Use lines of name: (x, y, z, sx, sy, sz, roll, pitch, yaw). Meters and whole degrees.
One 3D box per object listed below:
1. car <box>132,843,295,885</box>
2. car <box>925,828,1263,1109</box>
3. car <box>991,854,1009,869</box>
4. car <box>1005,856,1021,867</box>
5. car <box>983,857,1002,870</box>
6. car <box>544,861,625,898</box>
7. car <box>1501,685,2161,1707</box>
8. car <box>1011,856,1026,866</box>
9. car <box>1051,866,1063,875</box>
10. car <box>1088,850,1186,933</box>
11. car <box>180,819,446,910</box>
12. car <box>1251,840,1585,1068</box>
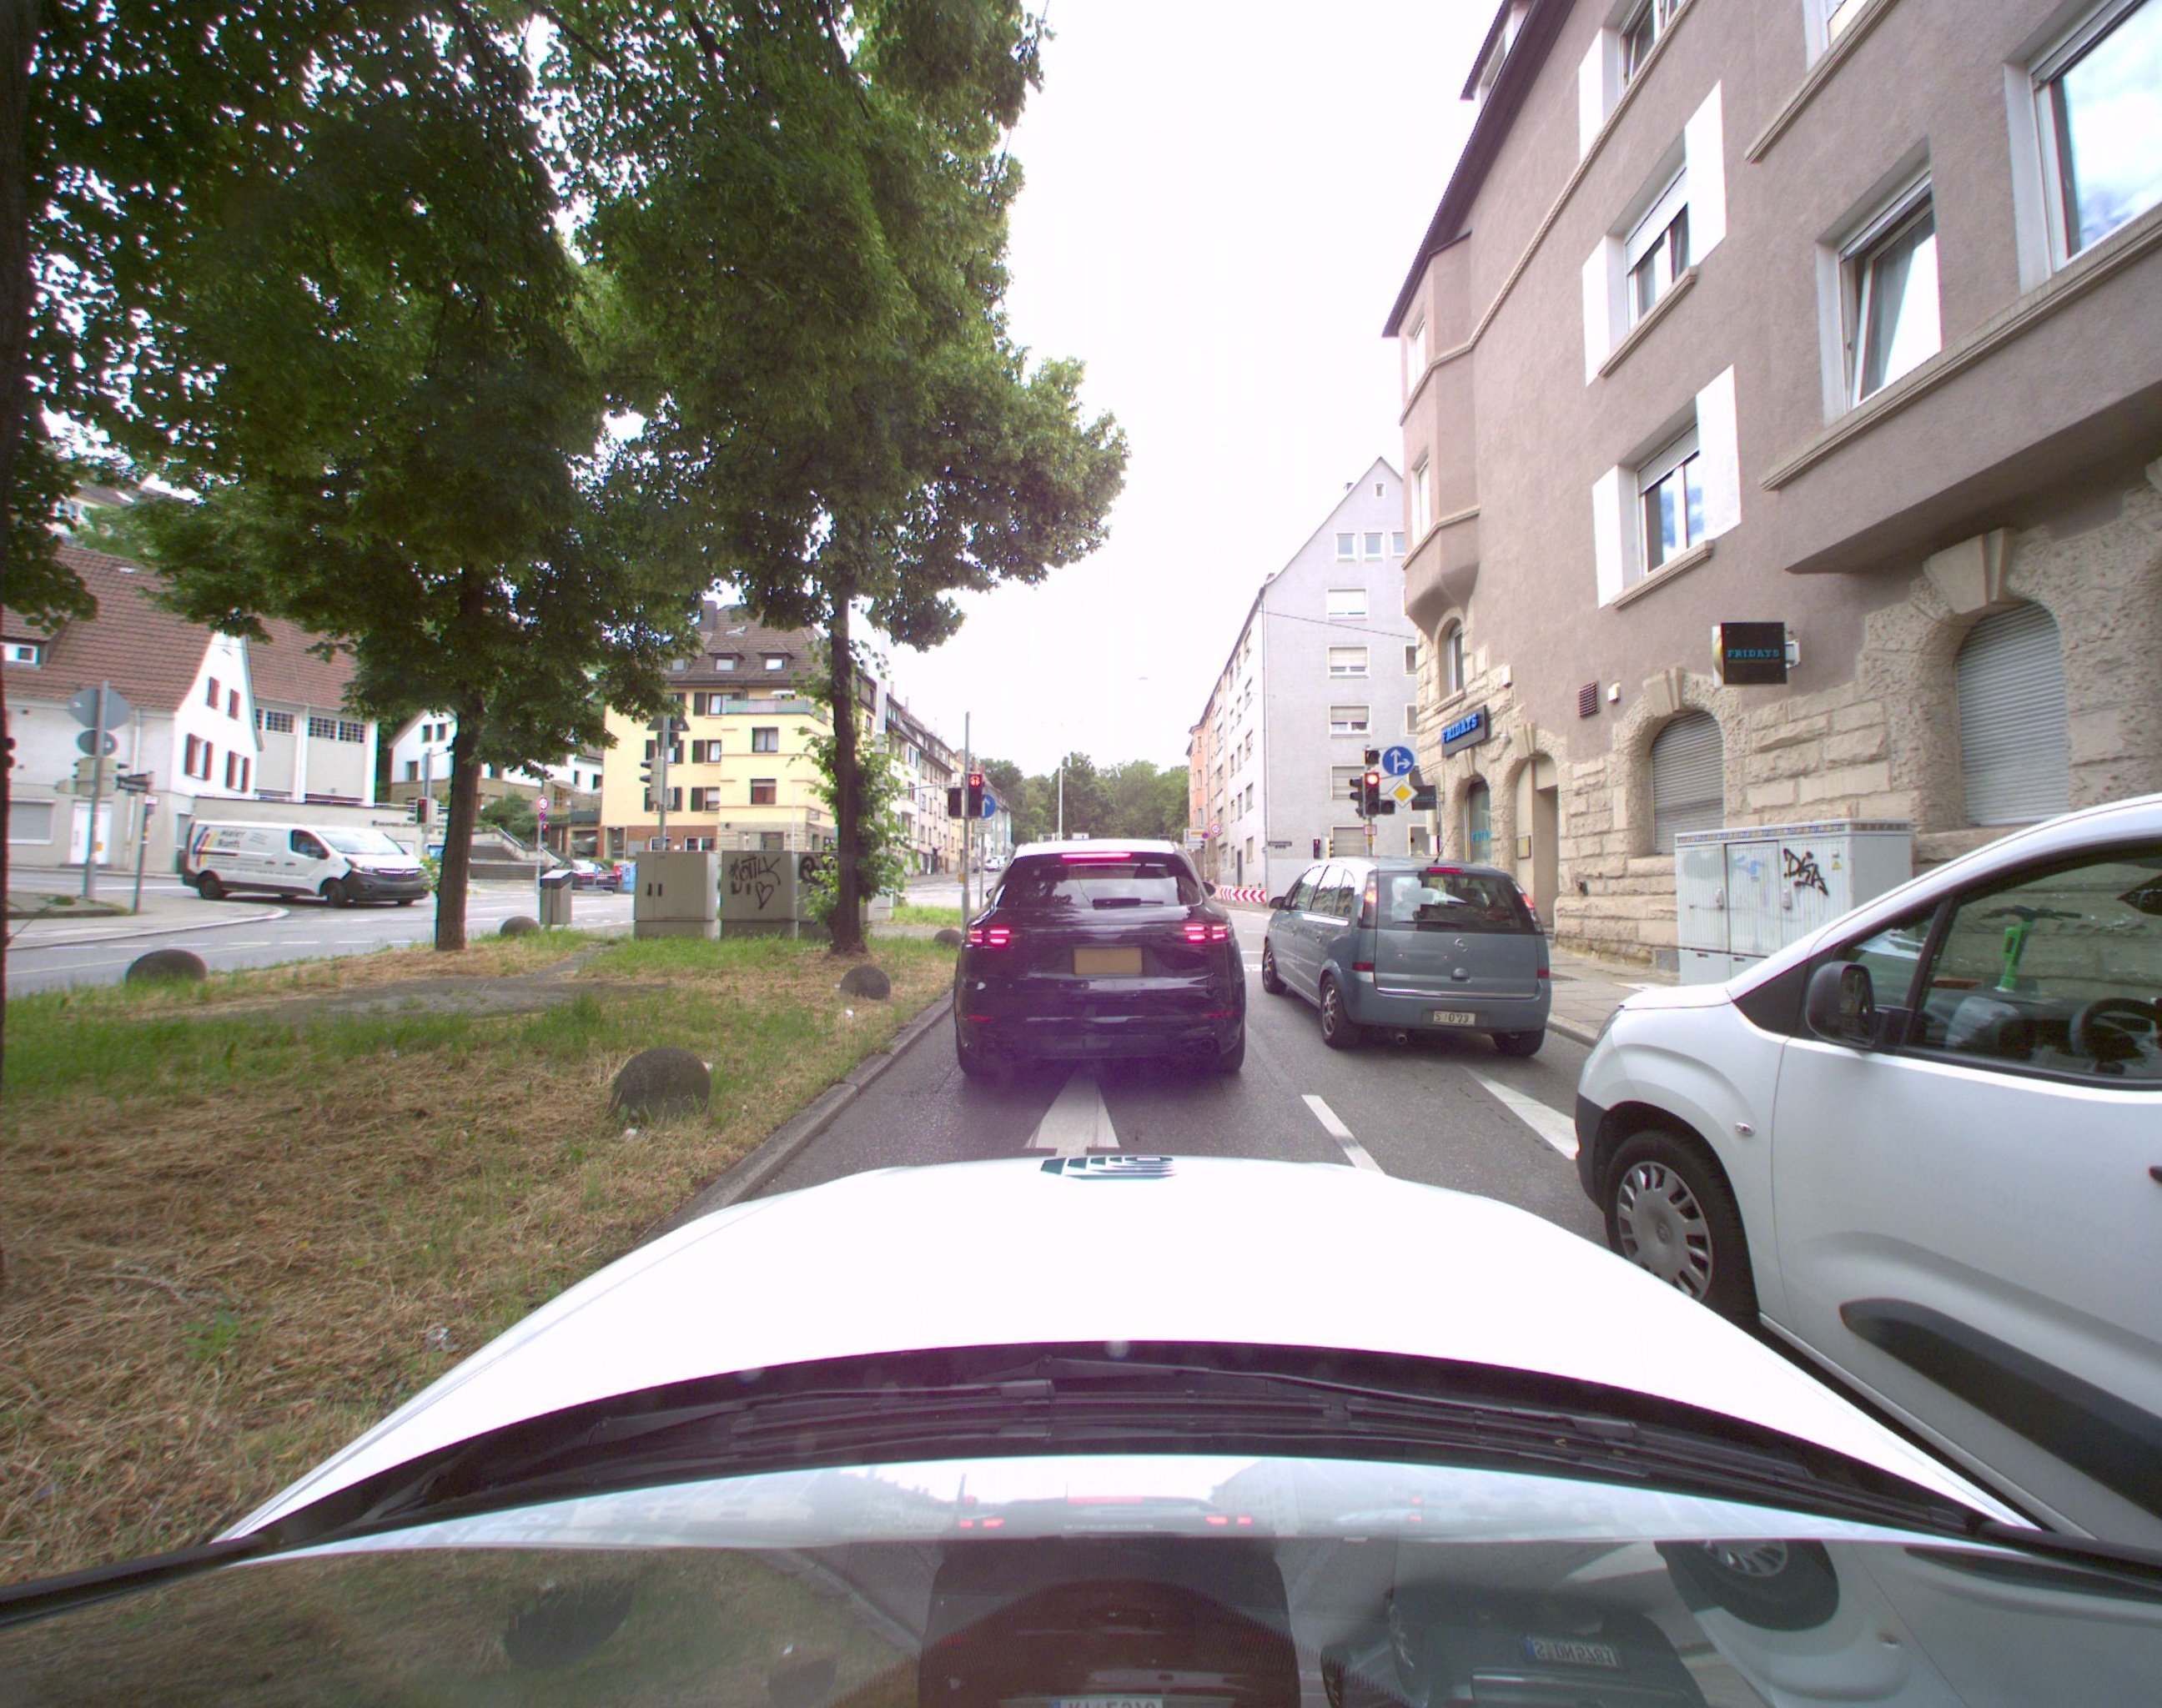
car: (-32.480, 0.367, 30.686, 4.021, 1.510, 1.779, 1, -1, -41)
car: (0.195, 0.677, 6.845, 1.986, 1.653, 4.004, -1, 0, 3)
car: (-10.307, 0.961, 103.988, 1.787, 1.810, 4.001, 0, 0, 1)
car: (-9.783, 1.113, 117.208, 1.787, 1.510, 4.001, 0, 0, 1)
car: (-10.724, 1.128, 98.970, 1.787, 1.510, 4.001, 0, 0, 1)
car: (-23.709, 1.207, 38.839, 3.948, 1.665, 1.894, -2, -2, 36)
car: (2.710, 0.654, 1.470, 1.840, 1.825, 5.029, 1, -2, 7)
car: (-9.619, 1.119, 125.371, 1.787, 1.510, 4.001, 0, 0, 1)
car: (-4.153, 2.928, 141.393, 1.788, 1.510, 4.000, 0, -2, 1)
car: (1.273, 0.795, 18.668, 1.986, 1.653, 4.004, -1, -1, 3)
car: (-19.250, 0.248, 20.527, 5.139, 2.064, 2.000, 1, -1, 7)
car: (2.884, 0.753, 7.872, 1.746, 1.593, 3.631, 3, 0, 1)
